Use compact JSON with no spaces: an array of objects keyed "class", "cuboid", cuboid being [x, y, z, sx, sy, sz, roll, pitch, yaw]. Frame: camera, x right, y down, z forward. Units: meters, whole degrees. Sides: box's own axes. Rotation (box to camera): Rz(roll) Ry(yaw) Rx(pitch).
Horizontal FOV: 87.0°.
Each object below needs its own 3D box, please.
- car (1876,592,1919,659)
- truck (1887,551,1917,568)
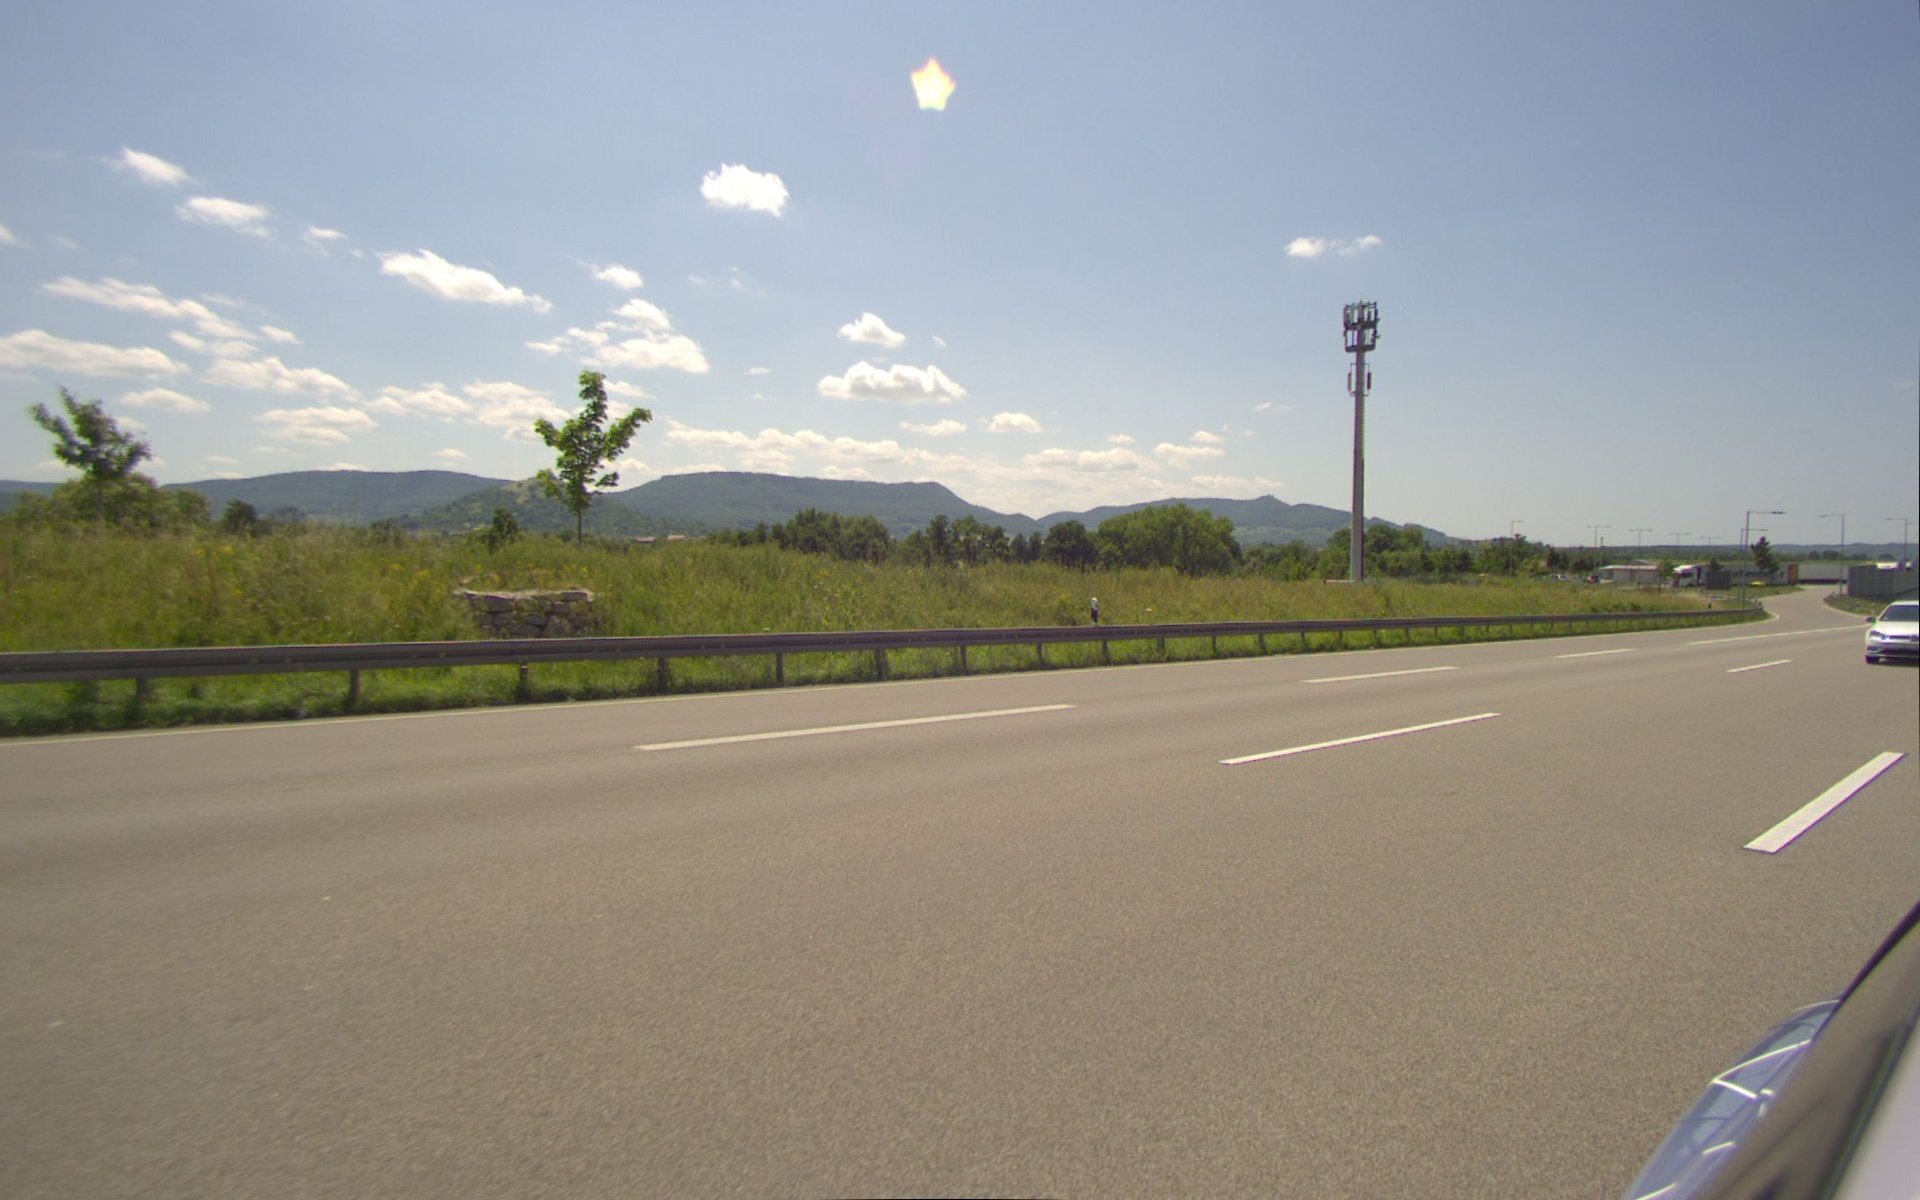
[{"class":"car","cuboid":[22.978,0.546,23.687,4.610,1.451,1.779,-1,1,-41]},{"class":"truck","cuboid":[138.406,-5.901,148.626,7.165,2.232,2.710,-1,1,-43]}]
